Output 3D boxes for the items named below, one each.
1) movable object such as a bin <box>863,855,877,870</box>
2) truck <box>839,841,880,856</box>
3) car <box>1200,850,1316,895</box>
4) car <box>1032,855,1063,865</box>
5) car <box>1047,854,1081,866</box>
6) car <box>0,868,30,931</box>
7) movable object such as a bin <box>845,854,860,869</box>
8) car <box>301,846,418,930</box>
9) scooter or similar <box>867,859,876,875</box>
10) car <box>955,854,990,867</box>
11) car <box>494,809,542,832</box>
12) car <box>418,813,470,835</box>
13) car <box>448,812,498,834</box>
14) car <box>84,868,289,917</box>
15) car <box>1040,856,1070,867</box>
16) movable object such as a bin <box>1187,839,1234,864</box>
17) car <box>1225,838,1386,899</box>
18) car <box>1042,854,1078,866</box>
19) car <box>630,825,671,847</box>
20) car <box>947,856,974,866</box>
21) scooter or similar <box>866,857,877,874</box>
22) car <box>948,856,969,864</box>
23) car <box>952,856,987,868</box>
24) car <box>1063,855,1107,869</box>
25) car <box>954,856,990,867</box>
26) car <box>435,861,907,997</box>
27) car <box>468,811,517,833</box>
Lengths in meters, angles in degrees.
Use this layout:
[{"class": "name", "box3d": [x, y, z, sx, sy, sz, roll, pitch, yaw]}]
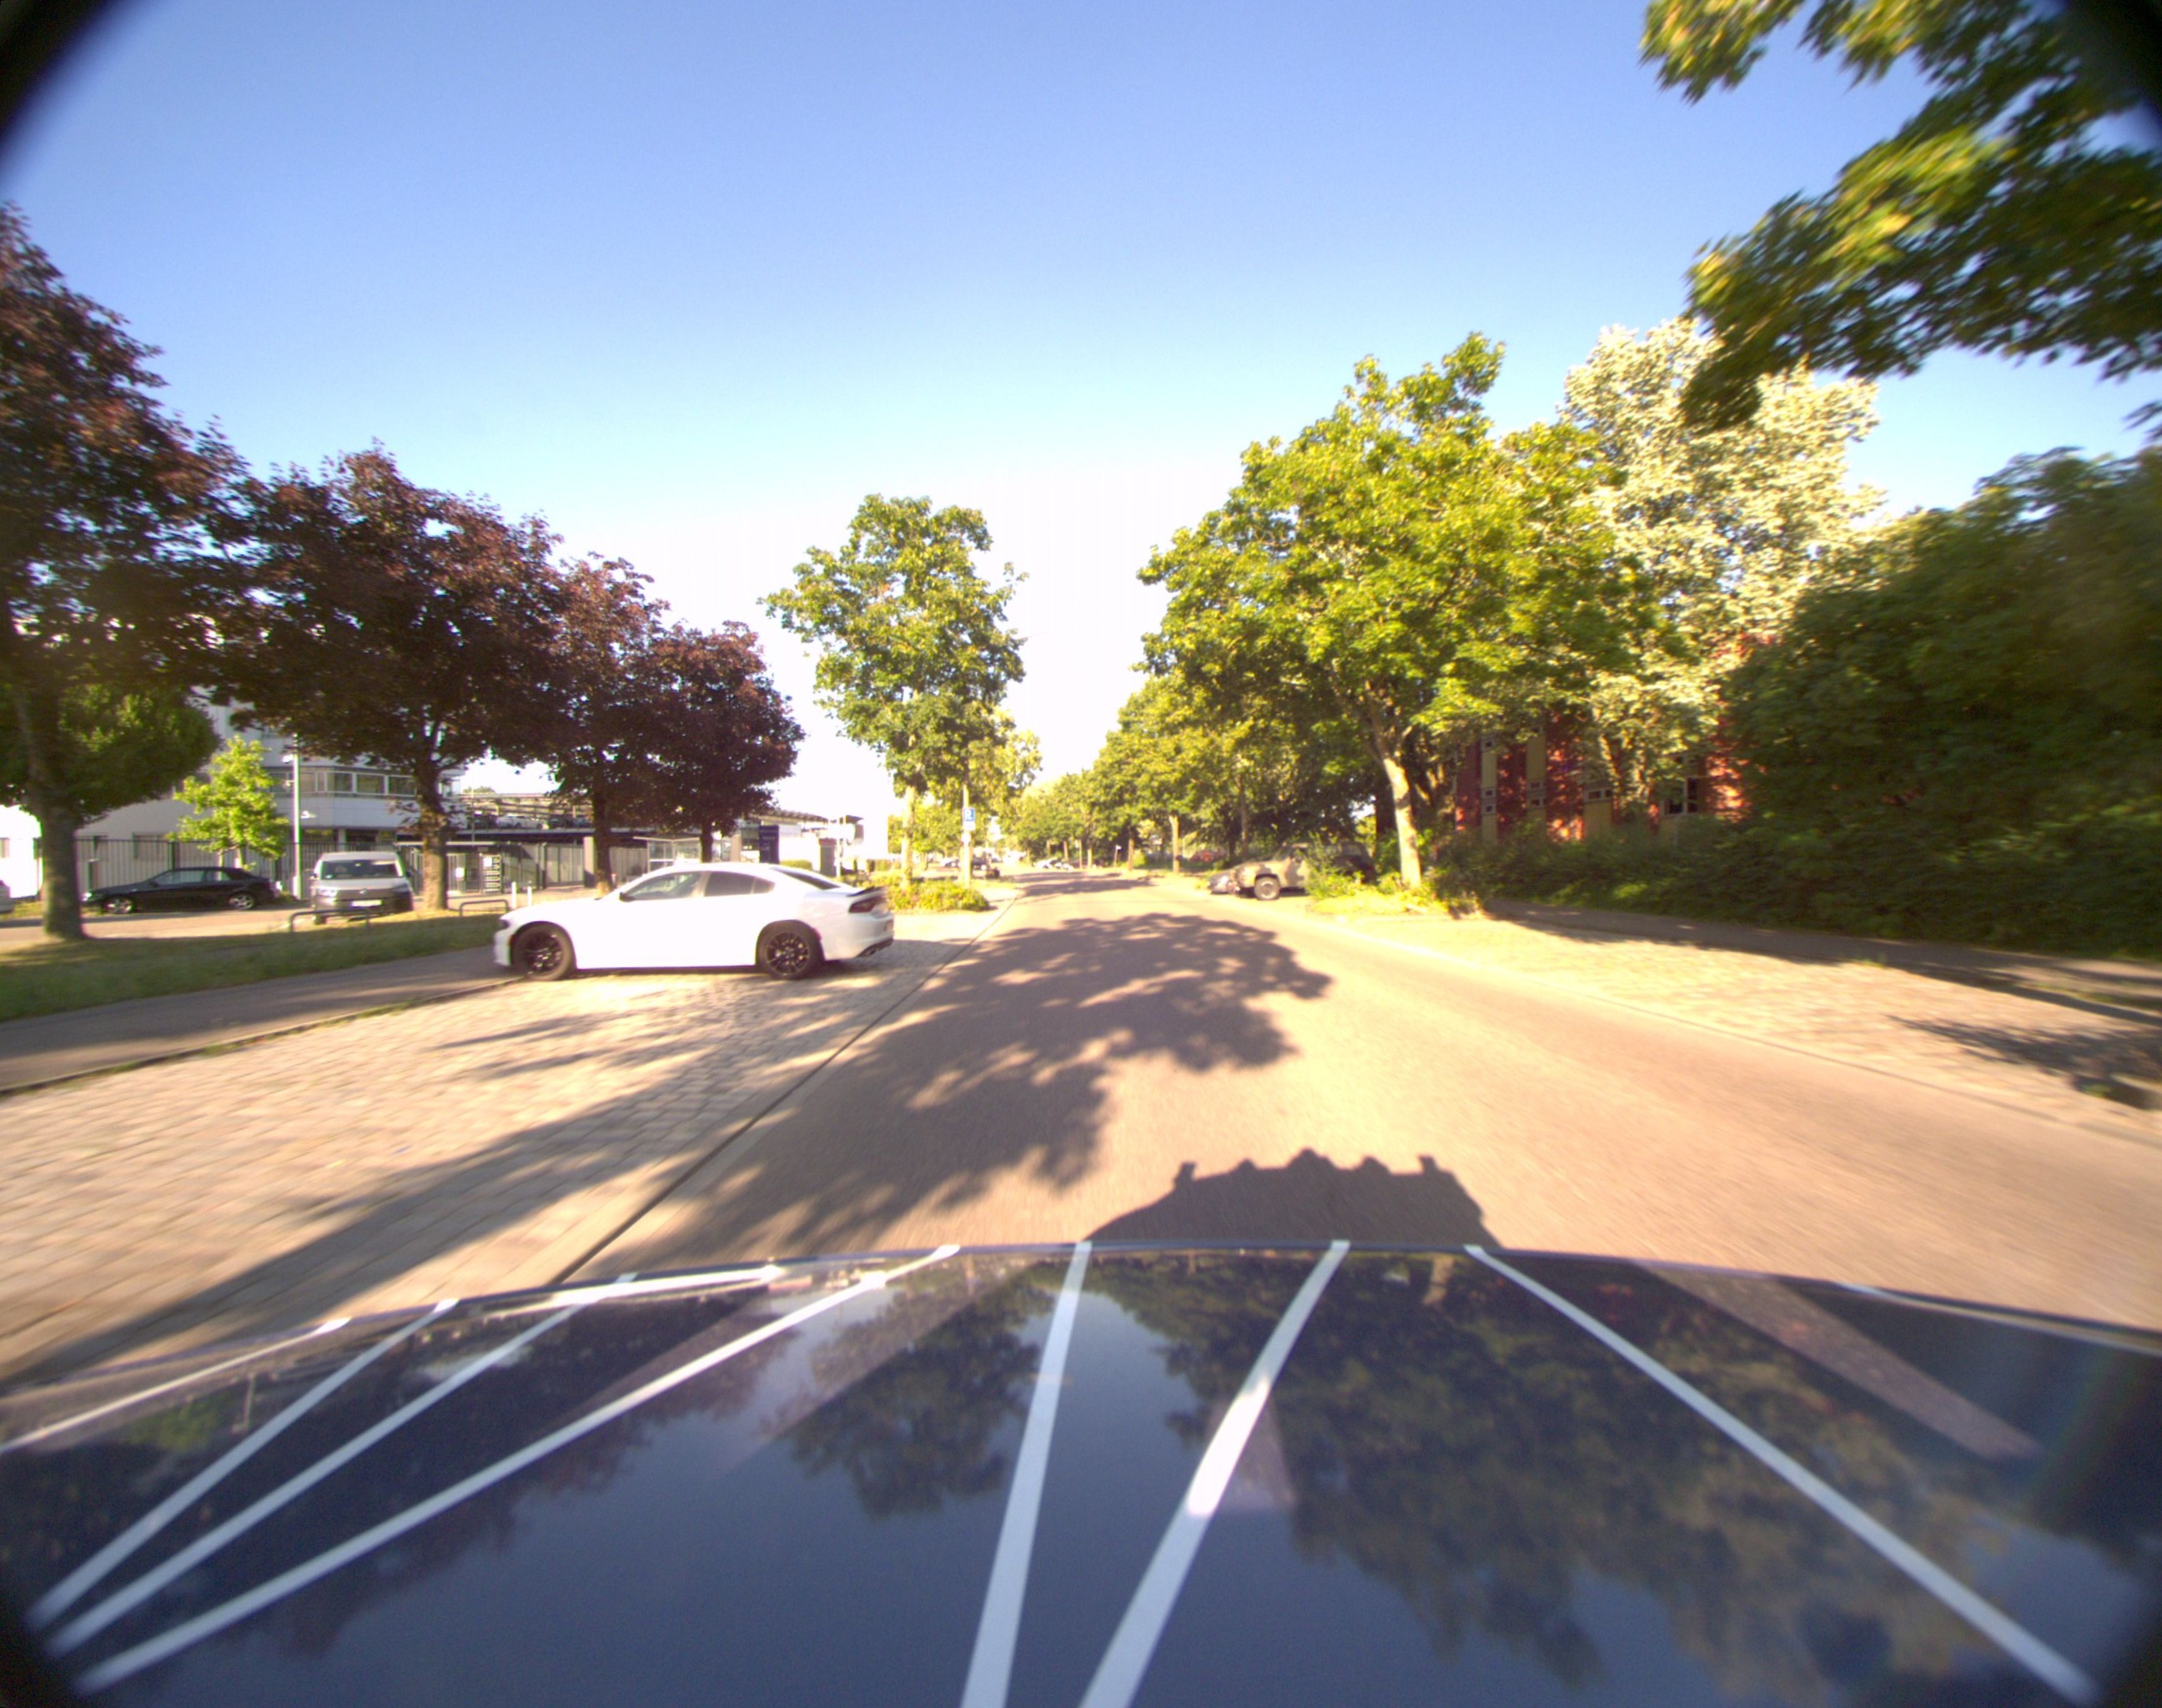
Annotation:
[{"class": "movable object such as a bin", "box3d": [-20.637, 0.818, 74.409, 0.846, 1.408, 1.039, -2, 0, 21]}, {"class": "truck", "box3d": [-56.478, -1.431, 193.780, 10.094, 3.623, 3.301, 0, 0, 24]}, {"class": "car", "box3d": [7.135, 0.719, 30.826, 4.224, 1.521, 1.705, -3, 0, -4]}, {"class": "car", "box3d": [-5.367, 0.945, 122.019, 4.666, 1.413, 1.914, -2, 1, -14]}, {"class": "car", "box3d": [-2.461, 0.883, 109.017, 4.495, 1.522, 1.998, -2, 1, -11]}, {"class": "car", "box3d": [-28.421, 1.151, 17.648, 4.321, 1.520, 1.802, -1, 0, -37]}, {"class": "movable object such as a bin", "box3d": [-22.383, 0.740, 74.508, 1.214, 1.475, 1.037, -1, 0, -4]}, {"class": "car", "box3d": [-18.845, 0.831, 19.918, 2.004, 1.922, 4.940, -1, -1, -43]}, {"class": "scooter or similar", "box3d": [-16.242, 1.007, 58.942, 0.521, 1.264, 1.200, -1, 0, -6]}, {"class": "car", "box3d": [-14.833, 0.896, 103.983, 4.709, 1.741, 2.190, -1, 0, -7]}, {"class": "car", "box3d": [-61.295, -3.622, 82.795, 1.998, 2.089, 4.202, -3, 0, 1]}, {"class": "car", "box3d": [-69.296, -3.215, 82.777, 1.998, 2.089, 4.202, -3, 0, 1]}, {"class": "car", "box3d": [-66.398, -3.360, 83.053, 1.998, 2.089, 4.202, -3, 0, 1]}, {"class": "car", "box3d": [-28.440, 1.162, 24.378, 4.008, 1.346, 1.802, -1, 0, -41]}, {"class": "car", "box3d": [-3.944, 1.080, 116.492, 4.301, 1.522, 1.998, -2, 1, -10]}, {"class": "movable object such as a bin", "box3d": [14.384, -0.242, 84.568, 4.790, 2.649, 2.169, 0, 0, 43]}, {"class": "car", "box3d": [7.837, 0.494, 26.865, 5.018, 2.008, 2.174, -1, 0, -1]}, {"class": "car", "box3d": [-3.095, 0.934, 111.420, 4.867, 1.522, 1.997, -2, 1, -15]}, {"class": "car", "box3d": [-46.652, -1.942, 82.451, 1.998, 2.089, 4.202, -3, 0, 1]}, {"class": "car", "box3d": [-21.757, 1.258, 136.902, 4.608, 1.575, 1.997, 1, 0, -14]}, {"class": "scooter or similar", "box3d": [-15.844, 0.886, 57.524, 0.521, 1.264, 1.386, 0, 0, -6]}, {"class": "car", "box3d": [-25.236, 1.204, 156.744, 4.214, 1.435, 2.086, 1, 0, -13]}, {"class": "car", "box3d": [-14.792, 1.014, 100.515, 4.496, 1.541, 2.032, -1, 0, -10]}, {"class": "car", "box3d": [0.454, 0.939, 91.901, 5.052, 1.453, 1.998, -2, 0, -11]}, {"class": "car", "box3d": [-14.163, 0.984, 98.301, 4.497, 1.395, 2.031, -1, 0, -11]}, {"class": "car", "box3d": [-5.189, 0.908, 10.318, 5.189, 1.565, 2.157, -1, 0, -3]}, {"class": "car", "box3d": [-64.133, -3.477, 82.867, 1.998, 2.089, 4.202, -3, 0, 1]}]
